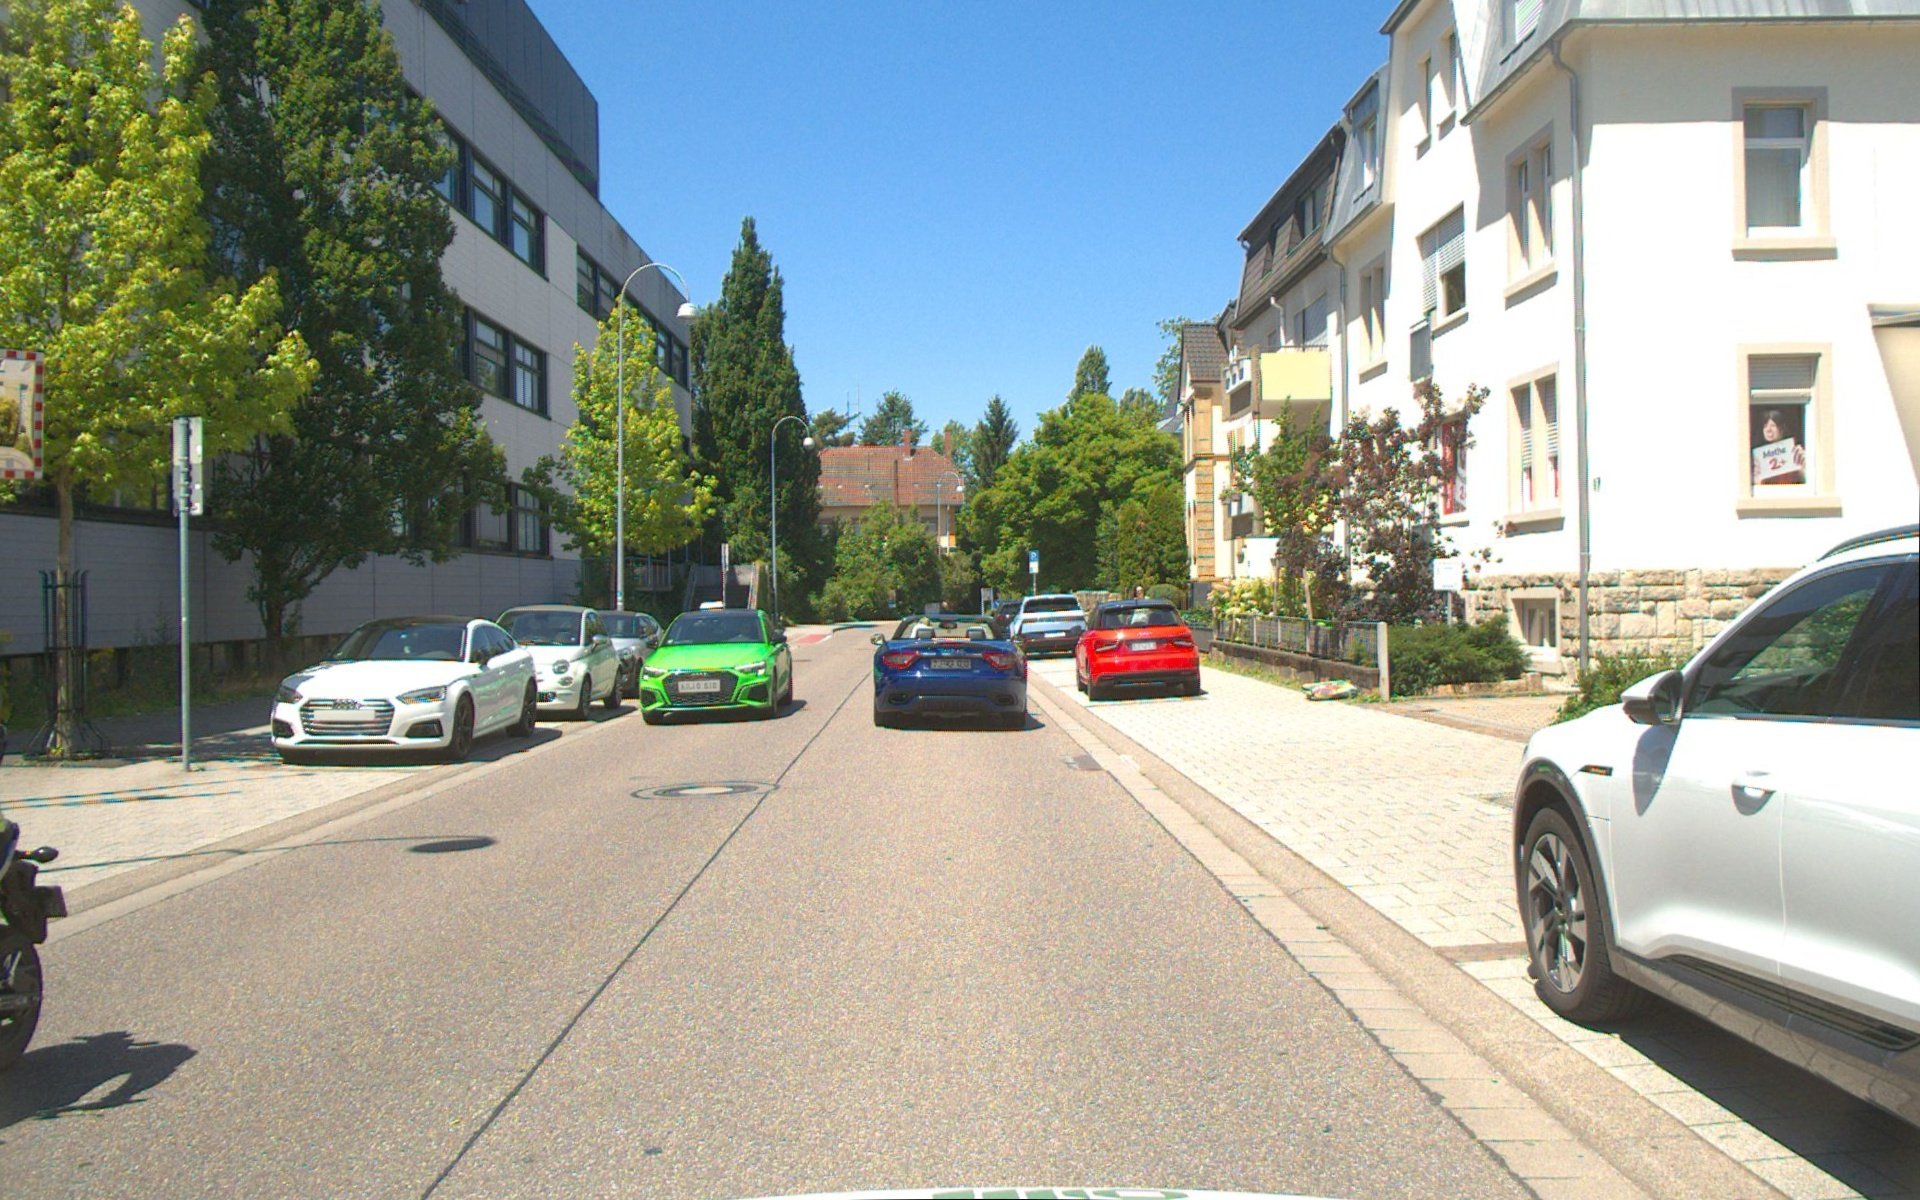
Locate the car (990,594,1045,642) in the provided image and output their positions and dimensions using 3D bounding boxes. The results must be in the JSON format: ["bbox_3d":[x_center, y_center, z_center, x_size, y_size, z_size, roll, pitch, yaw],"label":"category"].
[{"bbox_3d":[1.953,0.593,57.082,1.599,1.471,4.397,-3,0,-1],"label":"car"}]

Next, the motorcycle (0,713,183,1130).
[{"bbox_3d":[-3.137,0.982,5.022,0.684,1.126,1.790,-2,0,-1],"label":"motorcycle"}]

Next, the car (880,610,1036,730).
[{"bbox_3d":[-0.061,0.823,21.364,1.789,1.360,4.699,0,0,-1],"label":"car"}]

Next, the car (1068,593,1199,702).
[{"bbox_3d":[2.627,0.676,25.756,1.571,1.466,3.853,-4,0,0],"label":"car"}]

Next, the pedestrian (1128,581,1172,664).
[{"bbox_3d":[4.039,0.467,35.184,0.725,1.698,0.705,-3,0,-2],"label":"pedestrian"}]

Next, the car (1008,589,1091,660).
[{"bbox_3d":[2.262,0.607,42.698,1.806,1.647,4.427,-3,0,0],"label":"car"}]

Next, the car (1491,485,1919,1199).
[{"bbox_3d":[2.965,0.578,4.252,1.670,1.695,4.579,-1,0,-1],"label":"car"}]

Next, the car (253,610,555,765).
[{"bbox_3d":[-5.854,0.846,18.046,1.785,1.436,4.576,1,0,-1],"label":"car"}]

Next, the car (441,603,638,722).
[{"bbox_3d":[-5.912,0.817,23.756,1.785,1.538,4.288,0,0,-1],"label":"car"}]

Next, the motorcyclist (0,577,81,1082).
[{"bbox_3d":[-3.141,0.676,4.864,0.684,1.458,0.707,-2,0,-1],"label":"motorcyclist"}]

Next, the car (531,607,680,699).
[{"bbox_3d":[-6.036,0.860,28.582,1.712,1.434,3.933,-1,0,0],"label":"car"}]

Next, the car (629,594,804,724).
[{"bbox_3d":[-3.290,0.752,23.112,1.785,1.616,4.100,-1,0,0],"label":"car"}]
